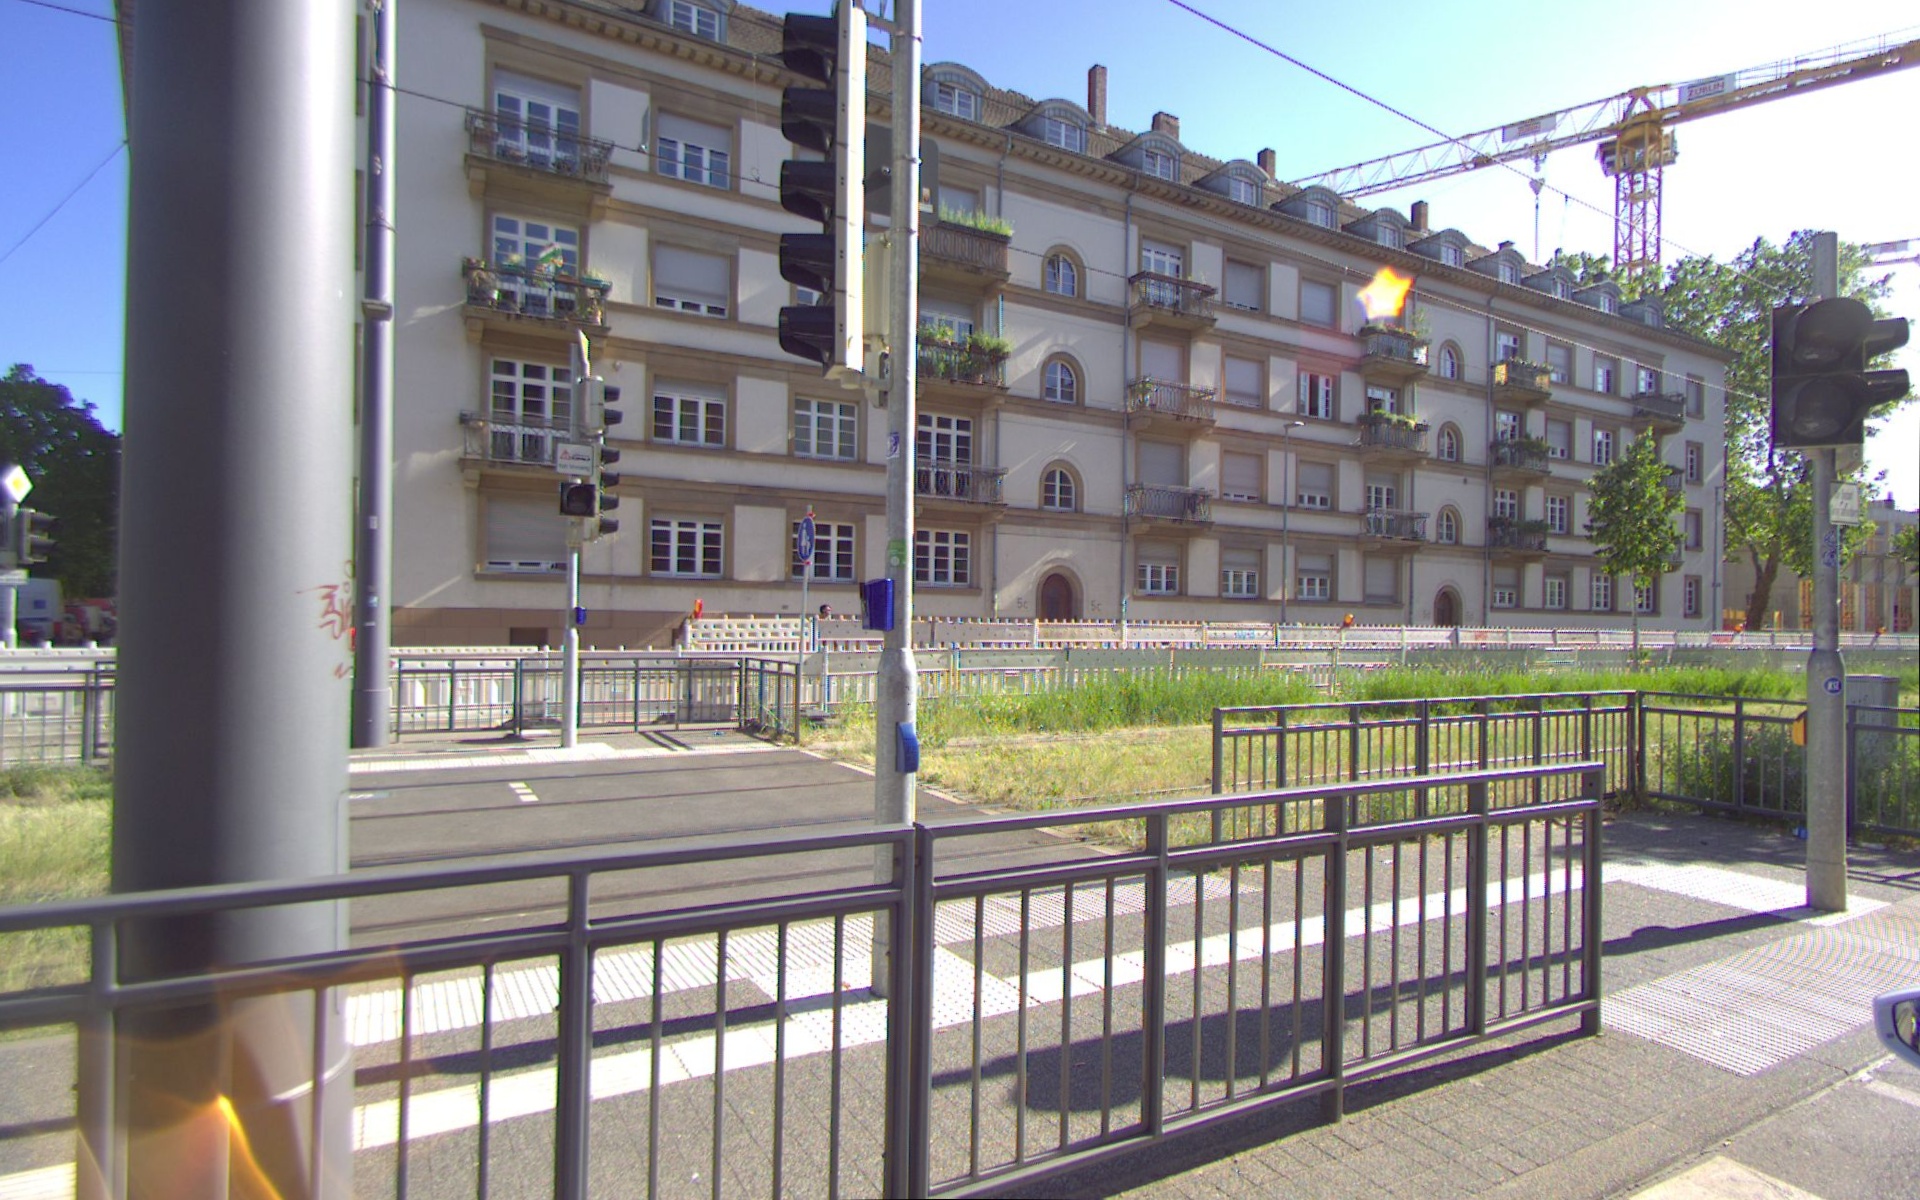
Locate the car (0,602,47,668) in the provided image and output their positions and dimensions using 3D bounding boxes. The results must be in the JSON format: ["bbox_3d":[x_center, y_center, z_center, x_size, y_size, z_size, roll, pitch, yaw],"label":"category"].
[{"bbox_3d":[-26.338,0.869,25.867,3.965,1.661,1.849,2,-1,-38],"label":"car"}]

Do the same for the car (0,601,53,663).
[{"bbox_3d":[-27.716,0.833,27.577,3.965,1.661,1.849,2,-1,-38],"label":"car"}]

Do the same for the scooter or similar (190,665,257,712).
[{"bbox_3d":[-12.368,1.478,16.878,0.697,0.729,0.607,0,-1,18],"label":"scooter or similar"}]

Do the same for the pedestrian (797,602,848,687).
[{"bbox_3d":[-3.142,1.007,22.946,0.861,1.888,0.763,2,0,-30],"label":"pedestrian"}]

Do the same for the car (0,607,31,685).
[{"bbox_3d":[-23.009,0.957,21.727,3.959,1.661,1.851,2,0,-34],"label":"car"}]

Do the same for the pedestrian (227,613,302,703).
[{"bbox_3d":[-12.142,0.994,17.551,0.697,1.524,0.806,0,-1,18],"label":"pedestrian"}]

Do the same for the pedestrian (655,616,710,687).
[{"bbox_3d":[-6.326,1.163,22.866,1.009,1.538,0.783,2,0,-30],"label":"pedestrian"}]

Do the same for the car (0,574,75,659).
[{"bbox_3d":[-29.567,0.416,29.139,5.710,2.487,1.977,2,0,-40],"label":"car"}]

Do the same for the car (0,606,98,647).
[{"bbox_3d":[-37.695,1.080,40.779,3.966,1.576,1.848,2,-1,-39],"label":"car"}]
